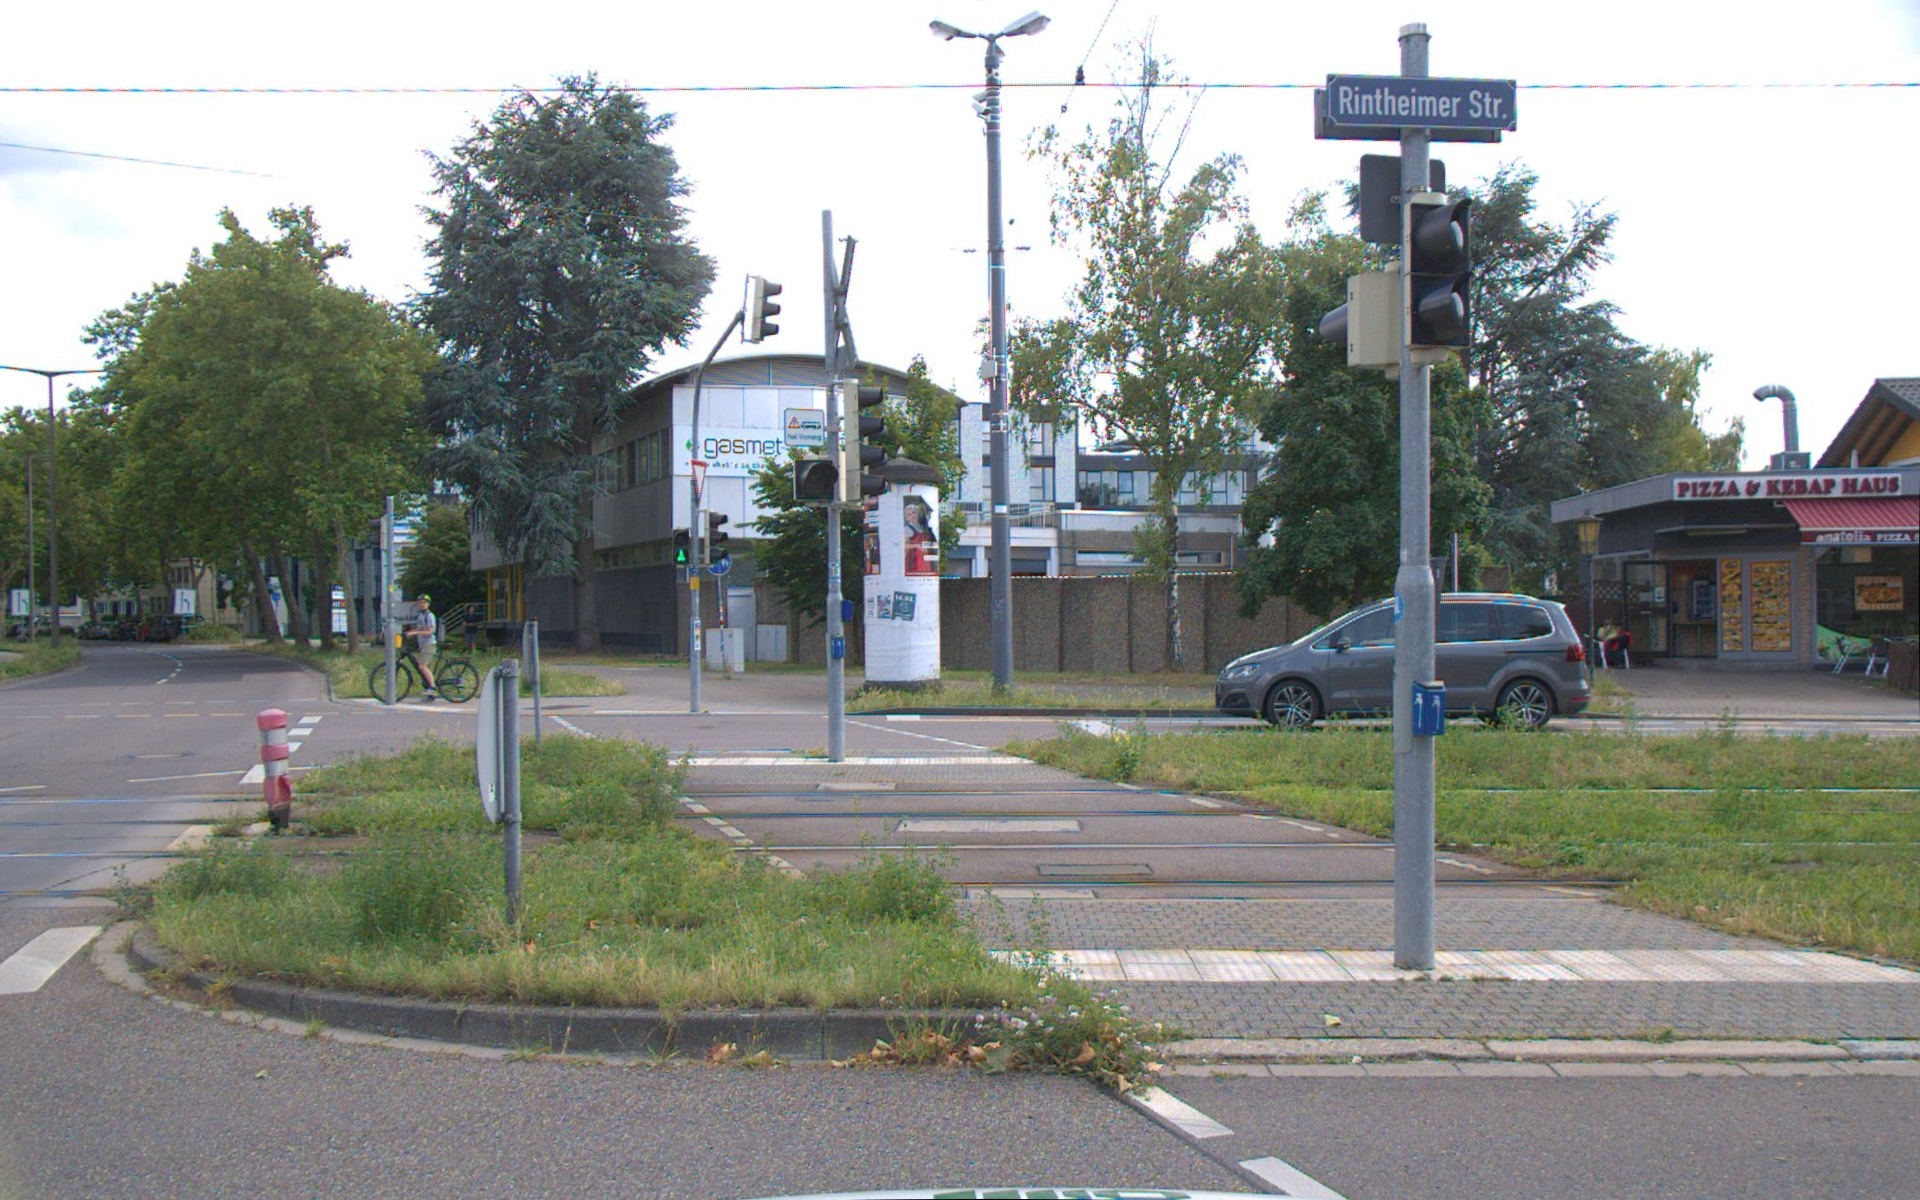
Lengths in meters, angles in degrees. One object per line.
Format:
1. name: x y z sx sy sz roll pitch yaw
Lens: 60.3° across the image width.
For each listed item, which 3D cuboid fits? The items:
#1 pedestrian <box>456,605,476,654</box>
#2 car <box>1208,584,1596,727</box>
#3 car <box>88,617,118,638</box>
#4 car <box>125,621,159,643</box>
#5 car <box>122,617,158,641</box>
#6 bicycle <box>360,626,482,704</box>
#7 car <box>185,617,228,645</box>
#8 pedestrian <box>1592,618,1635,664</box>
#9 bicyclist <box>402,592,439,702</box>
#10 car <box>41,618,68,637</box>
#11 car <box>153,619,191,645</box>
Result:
1. pedestrian: -16.590 0.991 55.542 0.612 1.597 0.555 -1 1 -22
2. car: 5.630 0.709 21.617 4.624 1.752 2.001 -1 -1 6
3. car: -75.618 2.423 145.915 1.975 1.601 3.955 -1 2 -33
4. car: -66.044 2.564 133.526 1.975 1.601 3.955 -1 2 -33
5. car: -61.418 2.182 123.920 1.975 1.601 3.955 -1 2 -33
6. bicycle: -9.121 1.097 28.066 1.912 1.257 0.539 0 1 -13
7. car: -49.198 2.013 107.924 1.975 1.601 3.955 -1 2 -33
8. pedestrian: 14.060 0.886 35.604 0.709 0.945 0.777 0 1 11
9. bicyclist: -9.147 0.790 28.049 0.533 1.841 0.539 0 1 -13
10. car: -85.216 2.590 155.589 1.975 1.601 3.955 -1 2 -33
11. car: -56.012 2.267 117.564 1.975 1.601 3.955 -1 2 -33
